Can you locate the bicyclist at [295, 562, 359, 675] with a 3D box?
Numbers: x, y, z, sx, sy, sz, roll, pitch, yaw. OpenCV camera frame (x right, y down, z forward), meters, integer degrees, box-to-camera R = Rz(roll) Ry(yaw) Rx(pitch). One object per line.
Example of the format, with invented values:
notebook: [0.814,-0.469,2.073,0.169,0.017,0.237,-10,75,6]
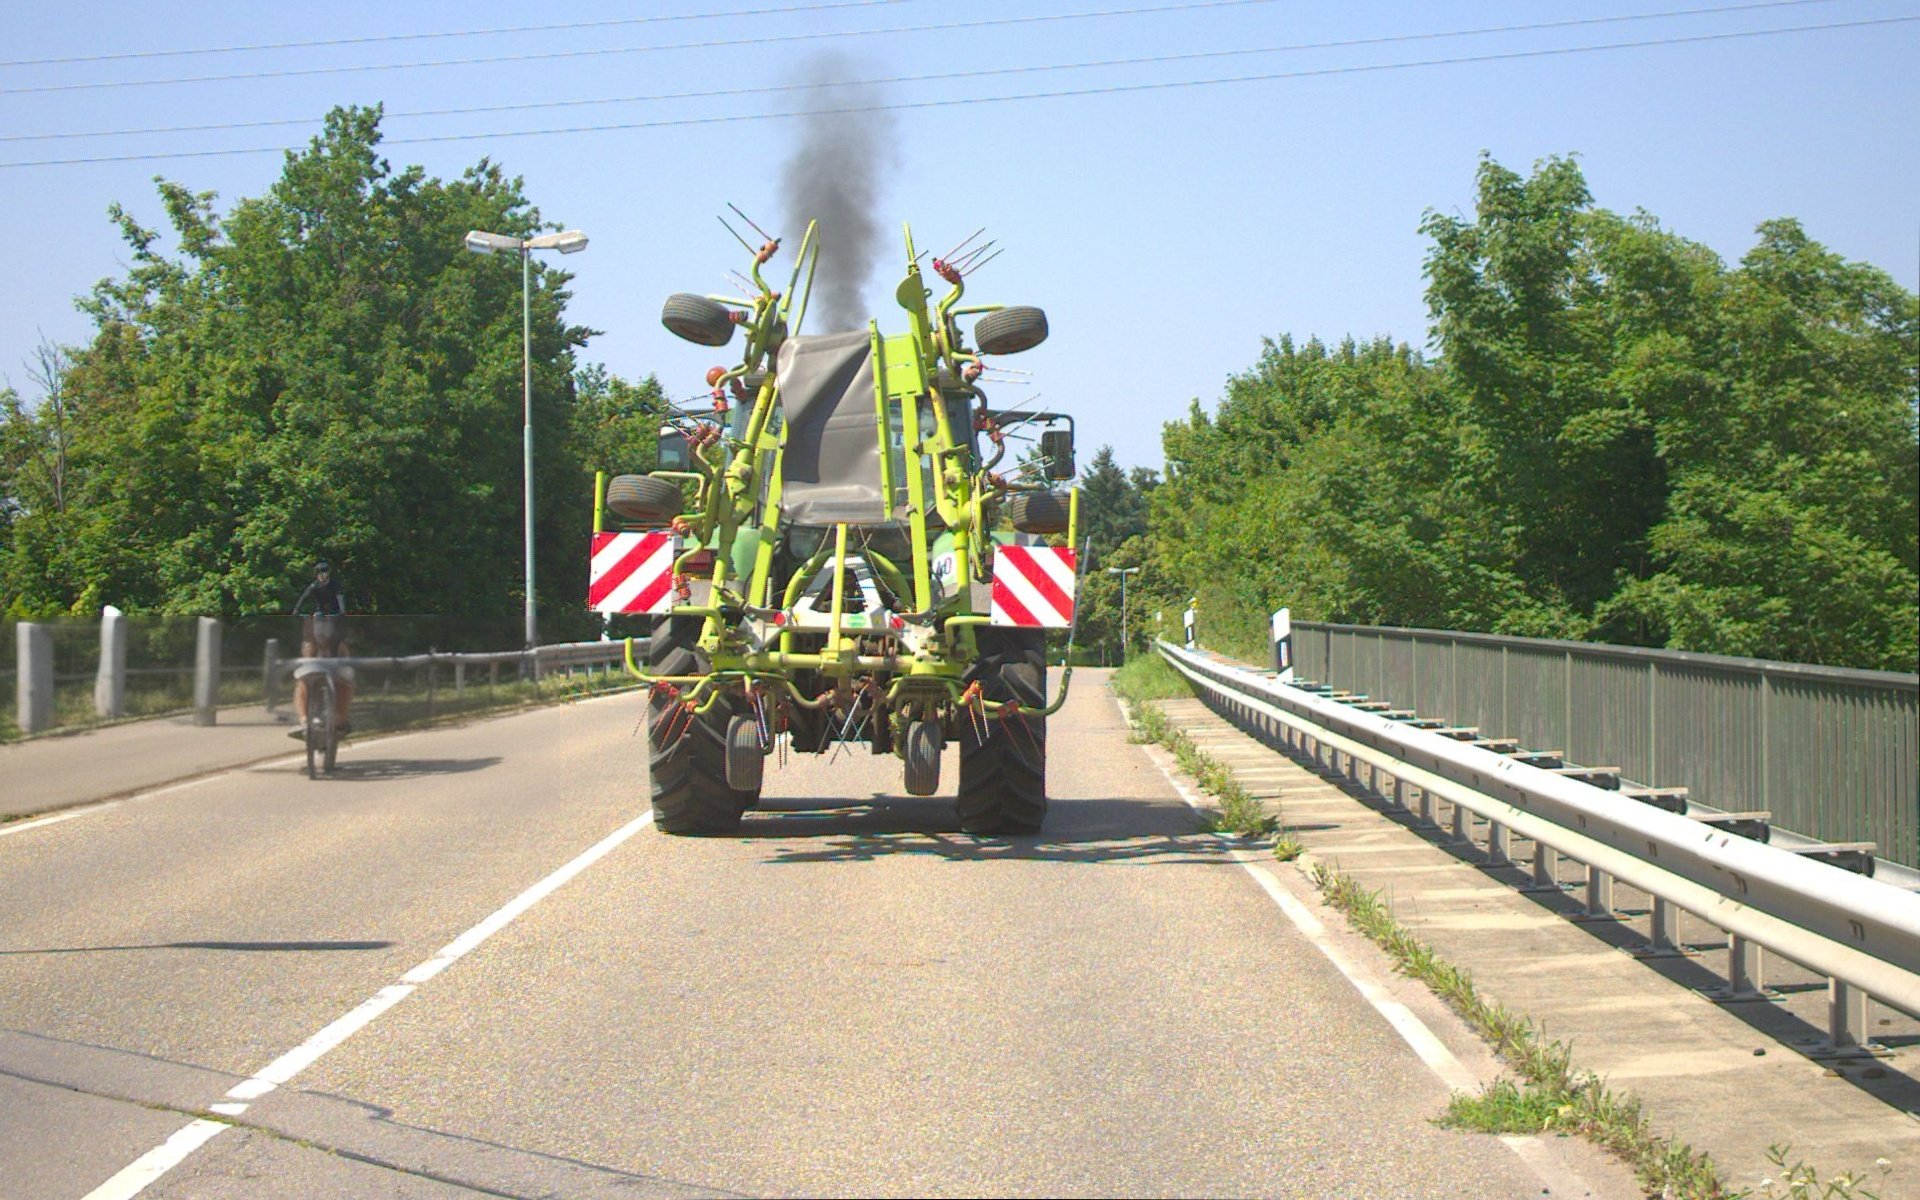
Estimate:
bicyclist: [-9.251,0.260,50.268,0.765,1.628,0.895,1,1,-1]

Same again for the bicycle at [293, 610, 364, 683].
bicycle: [-9.219,0.667,50.240,0.677,0.998,2.119,-1,1,-1]

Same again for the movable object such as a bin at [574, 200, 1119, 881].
movable object such as a bin: [-0.644,-0.336,20.213,2.755,3.432,5.670,0,1,-1]
